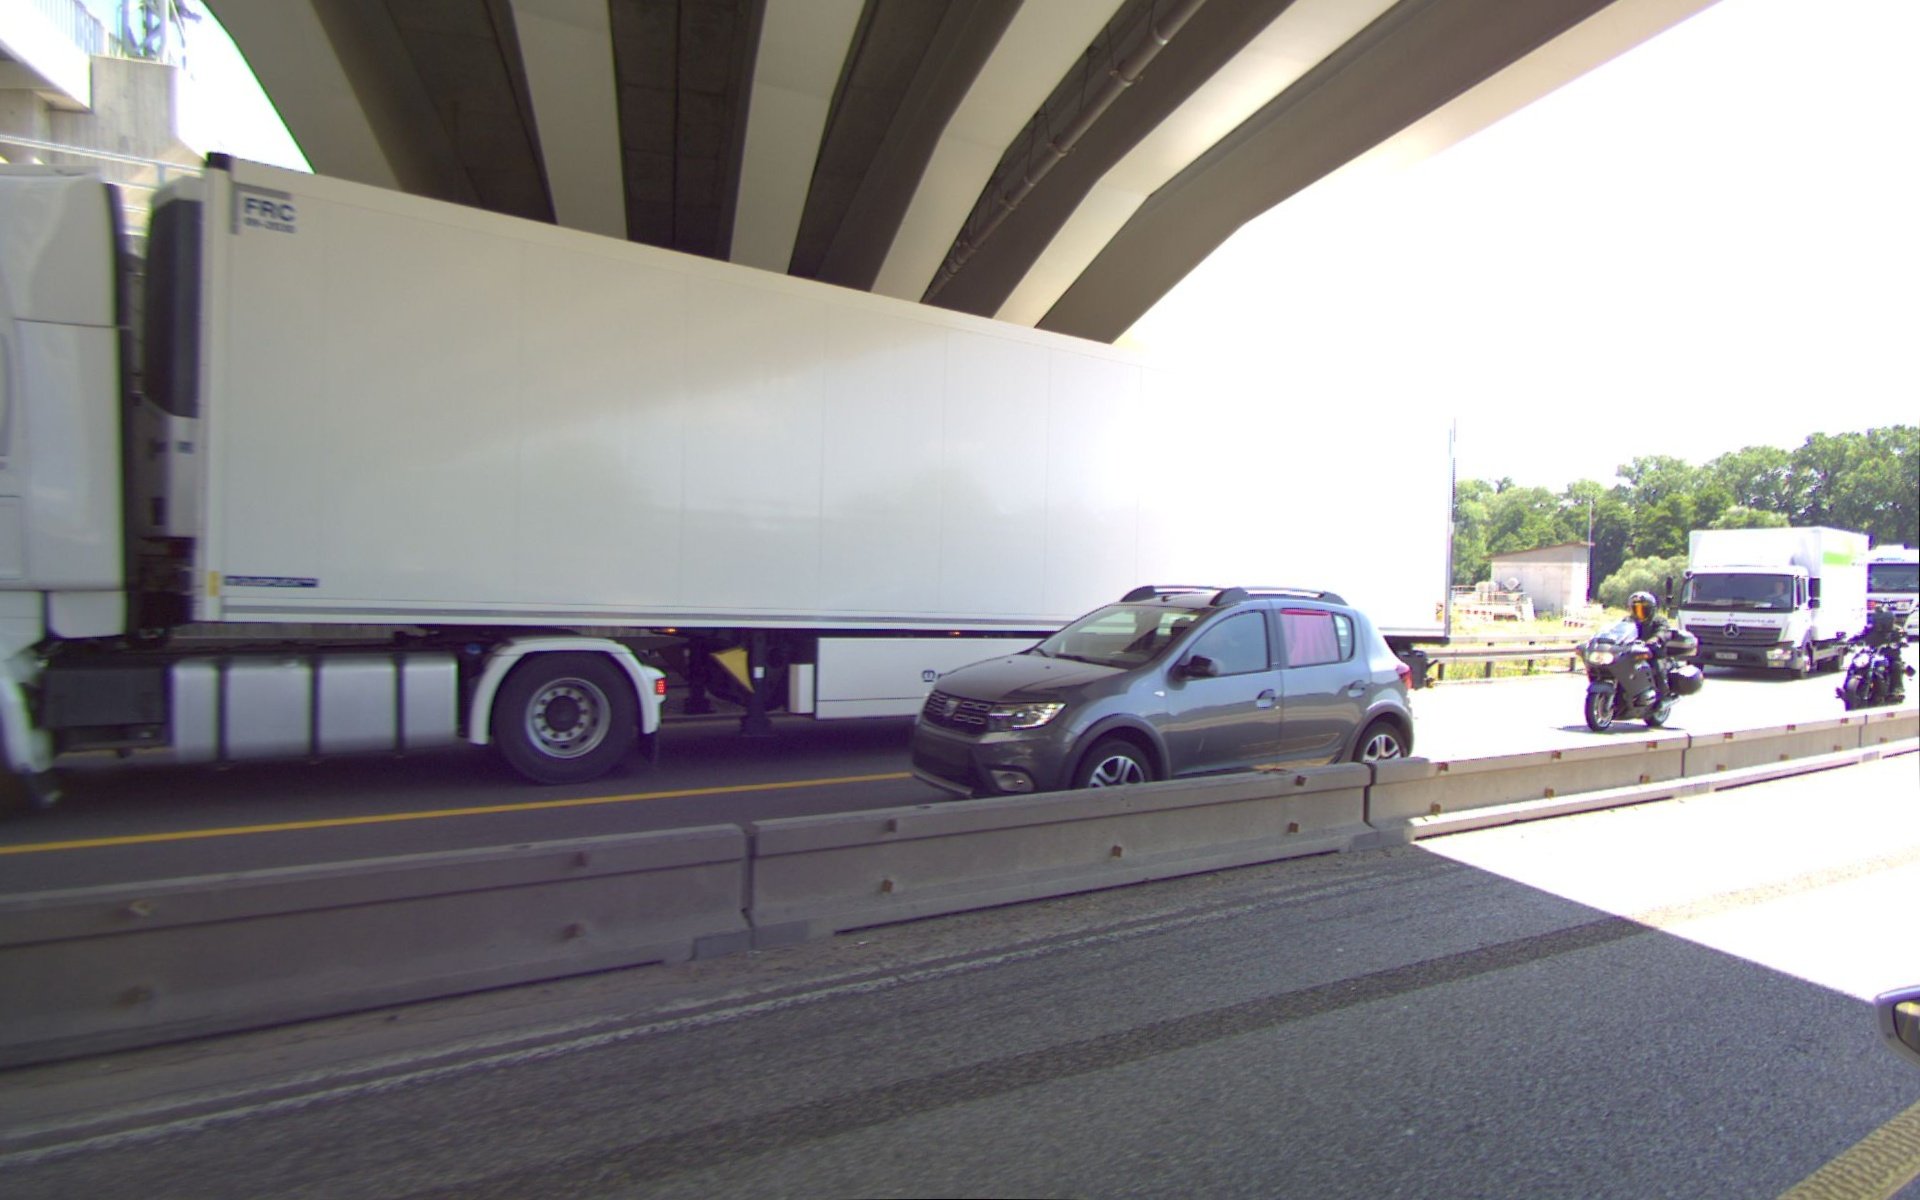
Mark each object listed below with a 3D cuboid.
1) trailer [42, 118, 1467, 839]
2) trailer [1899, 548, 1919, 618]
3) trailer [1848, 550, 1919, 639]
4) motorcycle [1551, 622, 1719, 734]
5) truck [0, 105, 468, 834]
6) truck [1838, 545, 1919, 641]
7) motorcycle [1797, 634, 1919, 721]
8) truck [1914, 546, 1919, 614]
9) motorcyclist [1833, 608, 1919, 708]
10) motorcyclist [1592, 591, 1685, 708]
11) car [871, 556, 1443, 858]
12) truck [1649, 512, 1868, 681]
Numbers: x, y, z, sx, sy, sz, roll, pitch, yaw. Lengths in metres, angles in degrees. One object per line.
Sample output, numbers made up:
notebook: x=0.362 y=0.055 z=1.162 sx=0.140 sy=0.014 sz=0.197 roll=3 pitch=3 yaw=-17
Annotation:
trailer: x=-0.016 y=-0.609 z=10.803 sx=14.202 sy=4.094 sz=2.860 roll=1 pitch=2 yaw=-33
trailer: x=61.513 y=-1.054 z=62.997 sx=5.167 sy=4.286 sz=2.846 roll=0 pitch=1 yaw=-35
trailer: x=44.456 y=-0.252 z=47.660 sx=10.174 sy=3.840 sz=2.501 roll=0 pitch=2 yaw=-44
motorcycle: x=8.683 y=0.959 z=12.870 sx=2.704 sy=1.296 sz=0.699 roll=2 pitch=0 yaw=-31
truck: x=-6.210 y=-0.775 z=6.862 sx=4.831 sy=4.106 sz=2.857 roll=1 pitch=2 yaw=-32
truck: x=39.825 y=-0.323 z=43.229 sx=4.915 sy=3.873 sz=2.509 roll=0 pitch=2 yaw=-43
motorcycle: x=13.489 y=1.116 z=14.923 sx=2.761 sy=1.165 sz=0.828 roll=2 pitch=0 yaw=-33
truck: x=68.698 y=-1.297 z=68.020 sx=15.215 sy=4.401 sz=2.789 roll=0 pitch=2 yaw=-35
motorcyclist: x=13.828 y=0.869 z=15.133 sx=0.735 sy=1.435 sz=0.806 roll=3 pitch=0 yaw=-32
motorcyclist: x=8.684 y=0.620 z=12.868 sx=0.735 sy=1.435 sz=0.714 roll=3 pitch=0 yaw=-32
car: x=1.542 y=0.612 z=7.424 sx=4.032 sy=1.693 sz=1.737 roll=1 pitch=1 yaw=-31
truck: x=20.319 y=-0.061 z=25.332 sx=8.431 sy=3.623 sz=2.792 roll=1 pitch=1 yaw=-41
